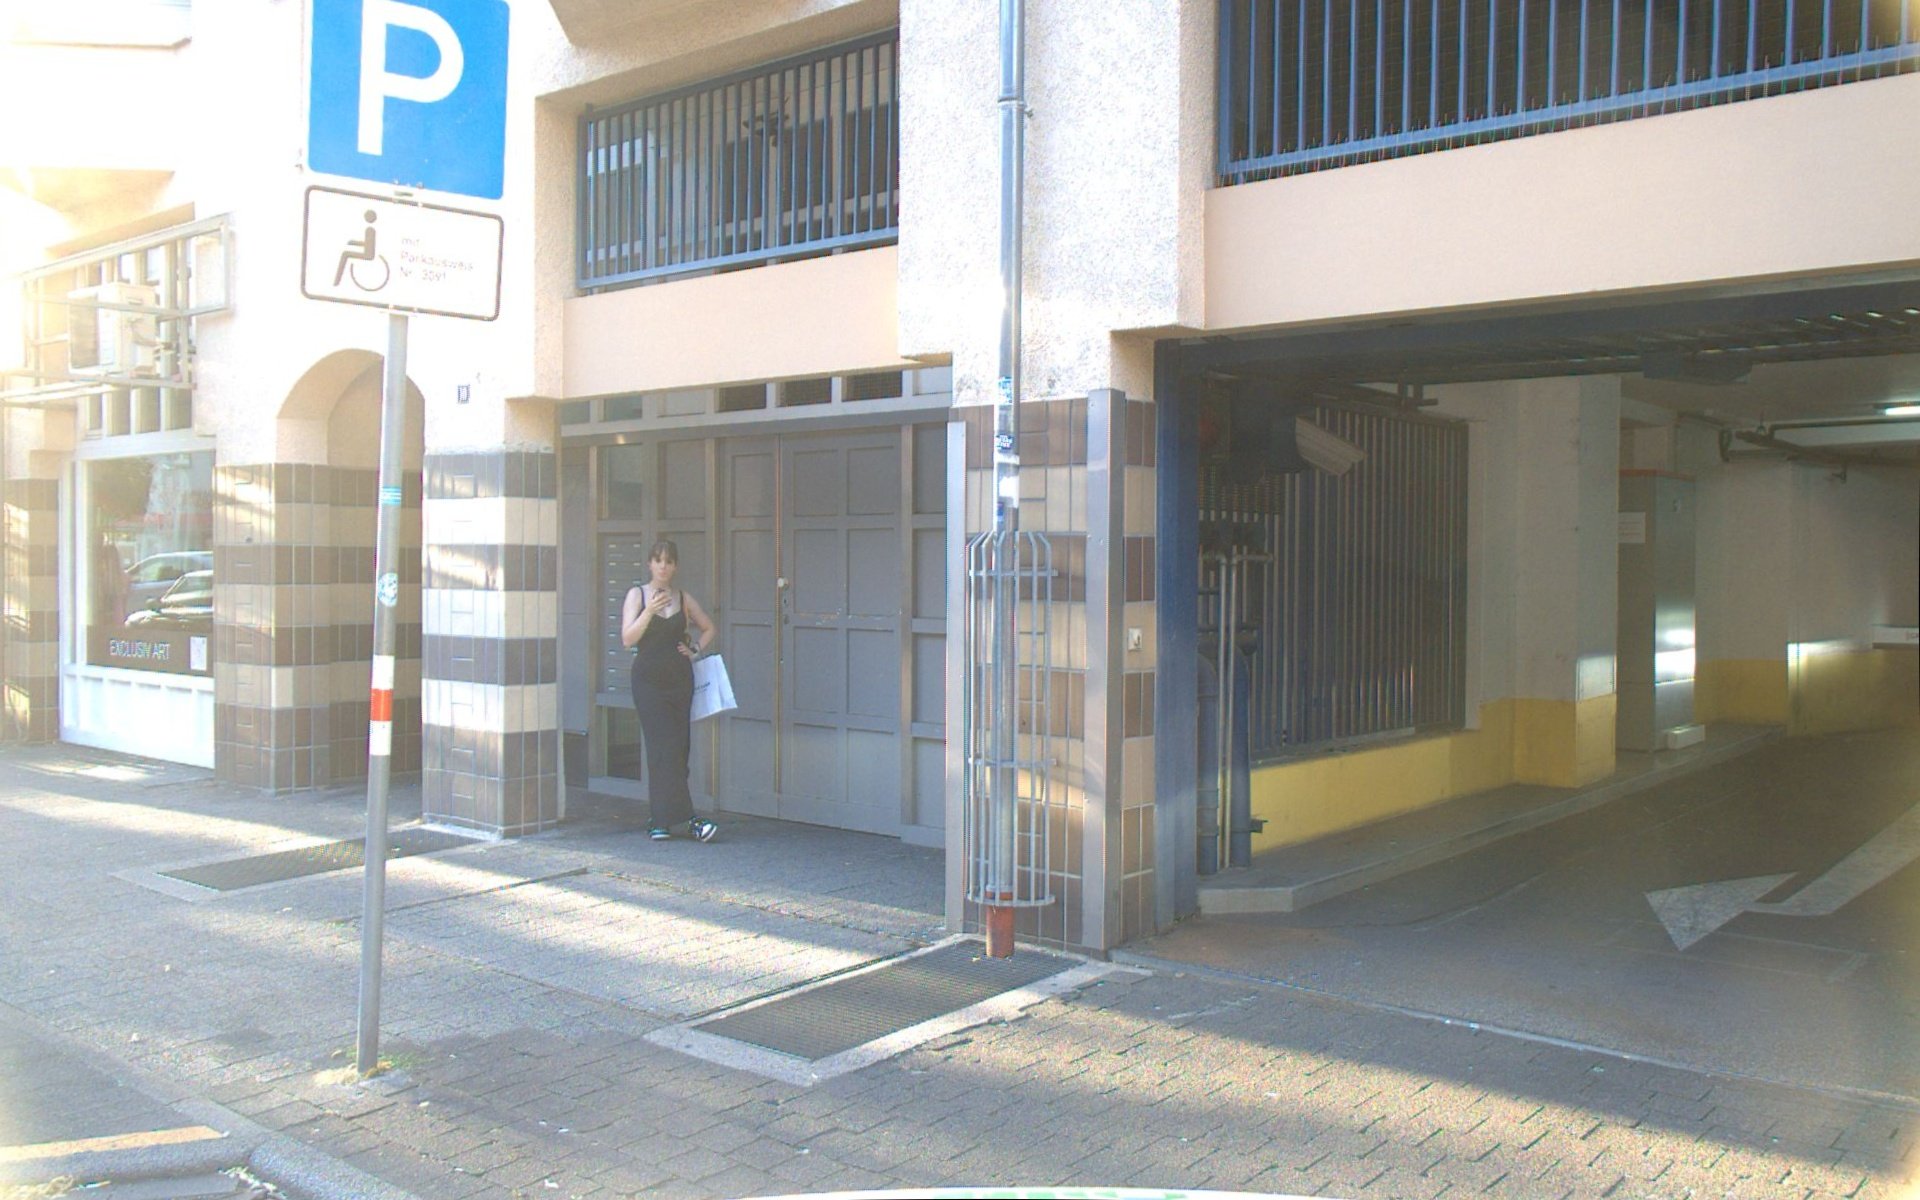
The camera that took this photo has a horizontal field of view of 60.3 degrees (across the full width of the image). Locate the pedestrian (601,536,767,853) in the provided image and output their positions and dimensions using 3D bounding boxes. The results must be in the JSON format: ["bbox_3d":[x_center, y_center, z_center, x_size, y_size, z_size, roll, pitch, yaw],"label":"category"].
[{"bbox_3d":[-1.464,0.470,8.738,0.765,1.599,0.530,0,1,-22],"label":"pedestrian"}]

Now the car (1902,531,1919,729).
[{"bbox_3d":[9.838,0.194,14.203,4.214,1.600,1.792,-2,2,-42],"label":"car"}]
